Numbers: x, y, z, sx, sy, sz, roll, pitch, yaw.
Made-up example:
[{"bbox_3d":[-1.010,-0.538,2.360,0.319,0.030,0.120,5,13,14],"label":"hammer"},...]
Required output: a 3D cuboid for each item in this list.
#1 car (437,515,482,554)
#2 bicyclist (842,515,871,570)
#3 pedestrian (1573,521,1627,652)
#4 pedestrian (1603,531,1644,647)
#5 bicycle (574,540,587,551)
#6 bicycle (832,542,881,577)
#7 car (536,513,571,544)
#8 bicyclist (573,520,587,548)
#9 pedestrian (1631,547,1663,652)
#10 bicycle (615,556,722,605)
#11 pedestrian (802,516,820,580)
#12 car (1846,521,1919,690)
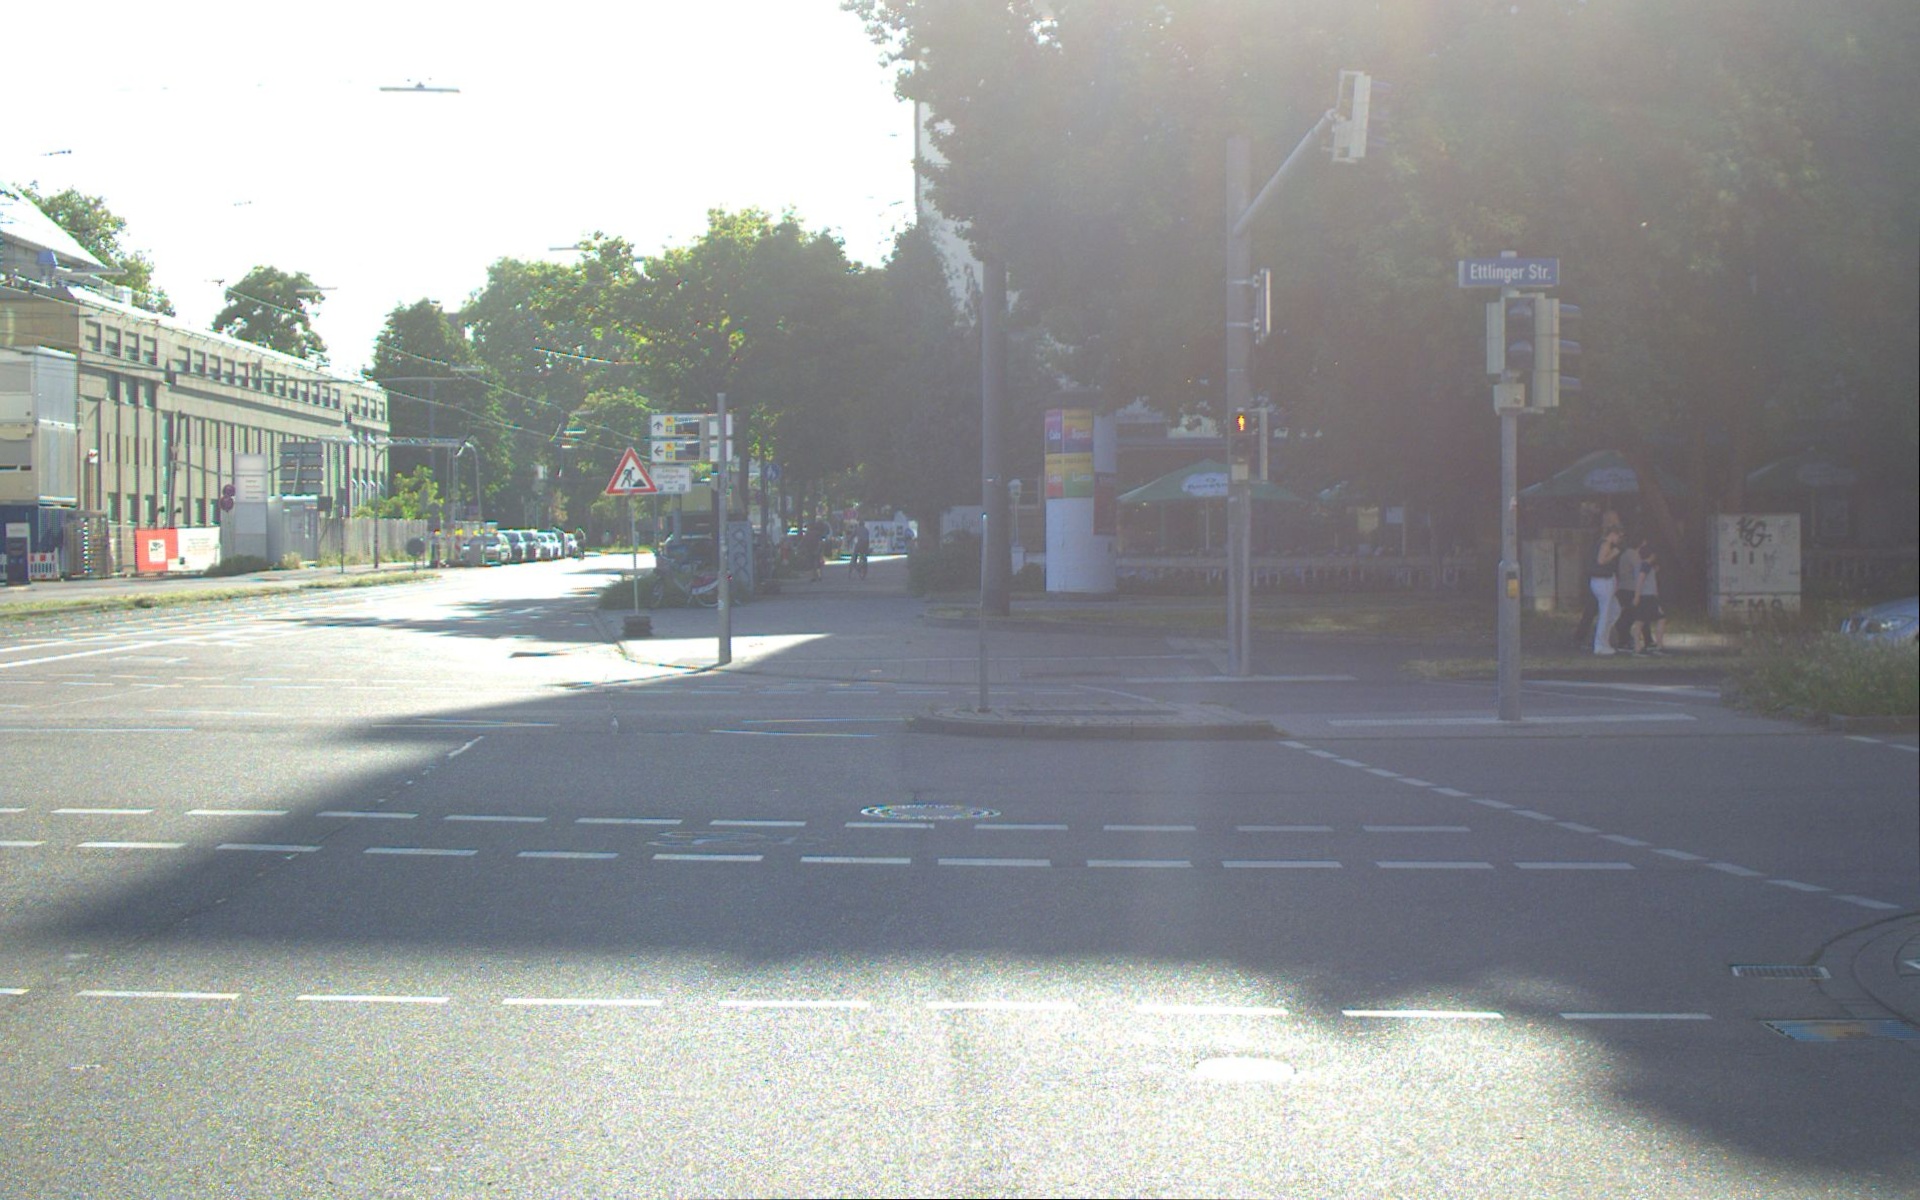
[{"bbox_3d":[-22.765,-2.963,156.444,1.692,1.712,4.248,1,1,-4],"label":"car"},{"bbox_3d":[-3.193,-1.769,105.995,0.569,1.685,0.699,-1,1,-37],"label":"bicyclist"},{"bbox_3d":[8.212,-0.183,44.113,0.583,1.657,0.514,1,2,2],"label":"pedestrian"},{"bbox_3d":[8.606,-0.146,44.580,0.439,1.498,0.437,0,1,1],"label":"pedestrian"},{"bbox_3d":[-18.358,-2.628,166.322,0.501,0.513,1.258,1,1,-1],"label":"bicycle"},{"bbox_3d":[-3.193,-1.262,106.017,0.575,1.073,1.830,-1,1,-37],"label":"bicycle"},{"bbox_3d":[-23.002,-4.027,194.689,1.692,1.712,4.248,1,1,-4],"label":"car"},{"bbox_3d":[-18.373,-3.184,166.331,0.596,1.372,0.638,1,0,-2],"label":"bicyclist"},{"bbox_3d":[8.679,-0.009,43.434,0.317,1.311,0.345,1,2,2],"label":"pedestrian"},{"bbox_3d":[-5.725,-0.384,67.478,2.018,0.888,0.650,-2,0,27],"label":"bicycle"},{"bbox_3d":[-4.262,-1.493,98.235,0.463,1.807,0.503,0,1,-5],"label":"pedestrian"},{"bbox_3d":[10.825,0.019,33.409,3.993,1.605,1.650,-1,1,-1],"label":"car"}]
